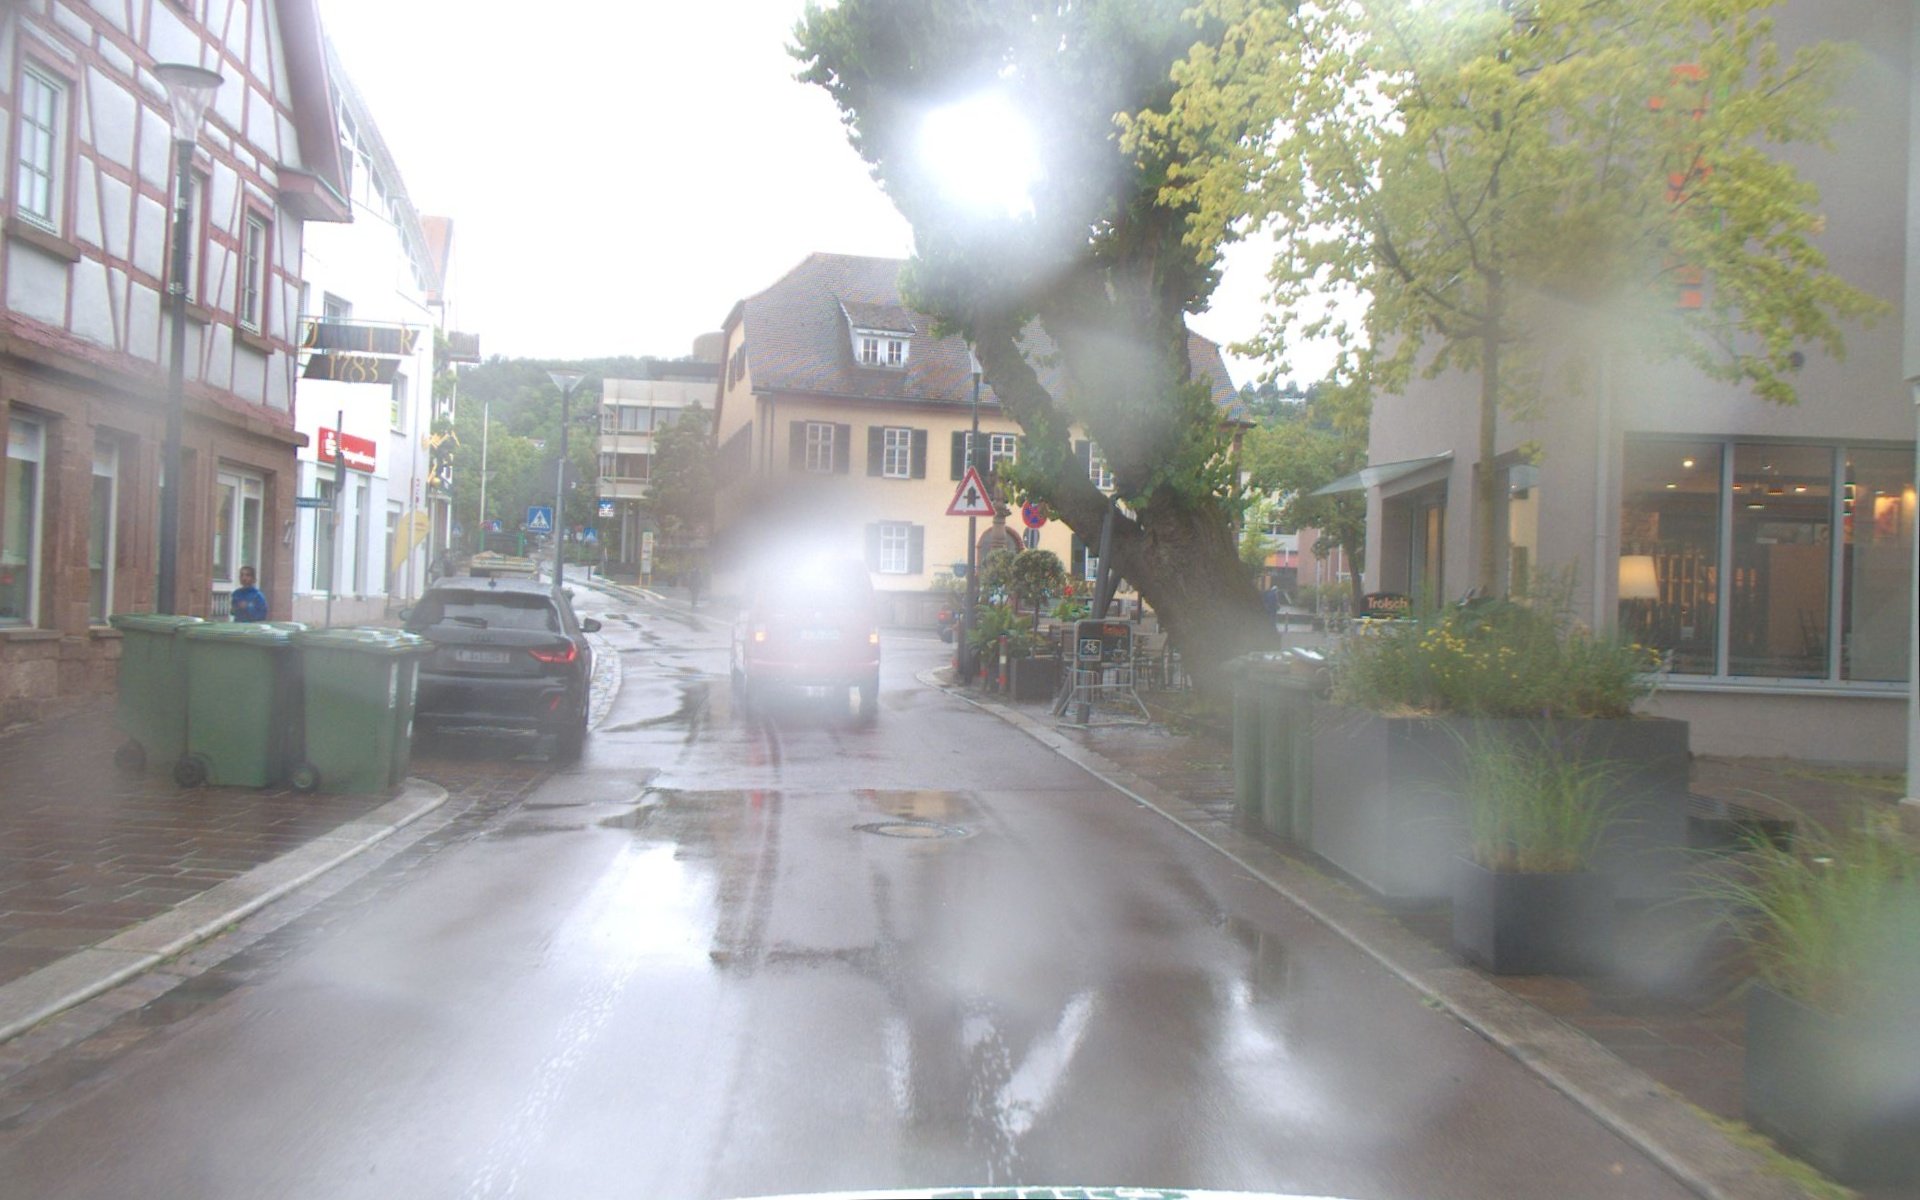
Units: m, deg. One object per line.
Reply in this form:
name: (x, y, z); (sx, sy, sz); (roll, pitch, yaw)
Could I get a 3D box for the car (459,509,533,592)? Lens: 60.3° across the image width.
car: (-16.793, -1.693, 59.625); (2.263, 2.647, 6.923); (3, -1, -17)

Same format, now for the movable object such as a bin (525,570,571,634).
movable object such as a bin: (-7.610, 0.043, 30.573); (0.701, 1.125, 0.599); (3, -1, -8)

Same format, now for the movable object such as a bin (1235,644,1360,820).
movable object such as a bin: (2.263, 0.872, 11.138); (0.663, 1.122, 0.579); (3, -1, -2)

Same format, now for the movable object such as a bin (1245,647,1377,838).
movable object such as a bin: (2.174, 0.870, 10.299); (0.619, 1.123, 0.579); (3, -1, -6)

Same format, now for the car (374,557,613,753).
car: (-4.199, 0.414, 15.436); (1.756, 1.521, 3.989); (3, 1, -11)

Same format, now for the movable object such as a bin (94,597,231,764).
movable object such as a bin: (-5.638, 0.561, 11.725); (0.647, 1.129, 0.615); (3, -1, -6)

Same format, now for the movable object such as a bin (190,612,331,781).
movable object such as a bin: (-4.921, 0.670, 11.675); (0.712, 1.129, 0.596); (3, -1, -6)

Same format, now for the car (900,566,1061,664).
car: (0.498, 0.355, 34.251); (1.953, 1.831, 3.999); (2, -1, 22)

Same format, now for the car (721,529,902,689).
car: (-2.072, 0.060, 22.018); (1.861, 1.842, 3.989); (3, 1, -12)

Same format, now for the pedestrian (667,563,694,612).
pedestrian: (-10.938, -0.484, 64.698); (0.748, 1.874, 0.902); (2, -1, 4)

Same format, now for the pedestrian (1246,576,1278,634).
pedestrian: (10.133, 0.174, 55.478); (0.880, 1.874, 0.766); (3, -1, 0)

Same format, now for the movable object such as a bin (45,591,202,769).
movable object such as a bin: (-5.587, 0.530, 11.078); (0.712, 1.129, 0.596); (3, -1, -6)

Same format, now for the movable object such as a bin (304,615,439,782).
movable object such as a bin: (-4.188, 0.689, 11.815); (0.712, 1.129, 0.644); (3, -1, -6)

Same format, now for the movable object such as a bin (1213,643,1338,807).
movable object such as a bin: (2.232, 0.873, 11.763); (0.707, 1.092, 0.648); (3, -1, -2)

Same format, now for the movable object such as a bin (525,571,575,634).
movable object such as a bin: (-7.745, 0.051, 31.260); (0.779, 1.125, 0.720); (3, -1, -8)

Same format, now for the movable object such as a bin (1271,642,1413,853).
movable object such as a bin: (2.231, 0.849, 9.711); (0.619, 1.170, 0.579); (3, -1, -6)

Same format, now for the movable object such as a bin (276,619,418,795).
movable object such as a bin: (-4.123, 0.709, 11.169); (0.712, 1.129, 0.596); (3, -1, -6)

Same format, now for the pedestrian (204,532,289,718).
pedestrian: (-6.869, 0.240, 15.953); (0.508, 1.741, 0.578); (3, -1, -5)

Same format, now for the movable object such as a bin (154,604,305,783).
movable object such as a bin: (-4.860, 0.614, 11.042); (0.712, 1.129, 0.596); (3, -1, -6)
